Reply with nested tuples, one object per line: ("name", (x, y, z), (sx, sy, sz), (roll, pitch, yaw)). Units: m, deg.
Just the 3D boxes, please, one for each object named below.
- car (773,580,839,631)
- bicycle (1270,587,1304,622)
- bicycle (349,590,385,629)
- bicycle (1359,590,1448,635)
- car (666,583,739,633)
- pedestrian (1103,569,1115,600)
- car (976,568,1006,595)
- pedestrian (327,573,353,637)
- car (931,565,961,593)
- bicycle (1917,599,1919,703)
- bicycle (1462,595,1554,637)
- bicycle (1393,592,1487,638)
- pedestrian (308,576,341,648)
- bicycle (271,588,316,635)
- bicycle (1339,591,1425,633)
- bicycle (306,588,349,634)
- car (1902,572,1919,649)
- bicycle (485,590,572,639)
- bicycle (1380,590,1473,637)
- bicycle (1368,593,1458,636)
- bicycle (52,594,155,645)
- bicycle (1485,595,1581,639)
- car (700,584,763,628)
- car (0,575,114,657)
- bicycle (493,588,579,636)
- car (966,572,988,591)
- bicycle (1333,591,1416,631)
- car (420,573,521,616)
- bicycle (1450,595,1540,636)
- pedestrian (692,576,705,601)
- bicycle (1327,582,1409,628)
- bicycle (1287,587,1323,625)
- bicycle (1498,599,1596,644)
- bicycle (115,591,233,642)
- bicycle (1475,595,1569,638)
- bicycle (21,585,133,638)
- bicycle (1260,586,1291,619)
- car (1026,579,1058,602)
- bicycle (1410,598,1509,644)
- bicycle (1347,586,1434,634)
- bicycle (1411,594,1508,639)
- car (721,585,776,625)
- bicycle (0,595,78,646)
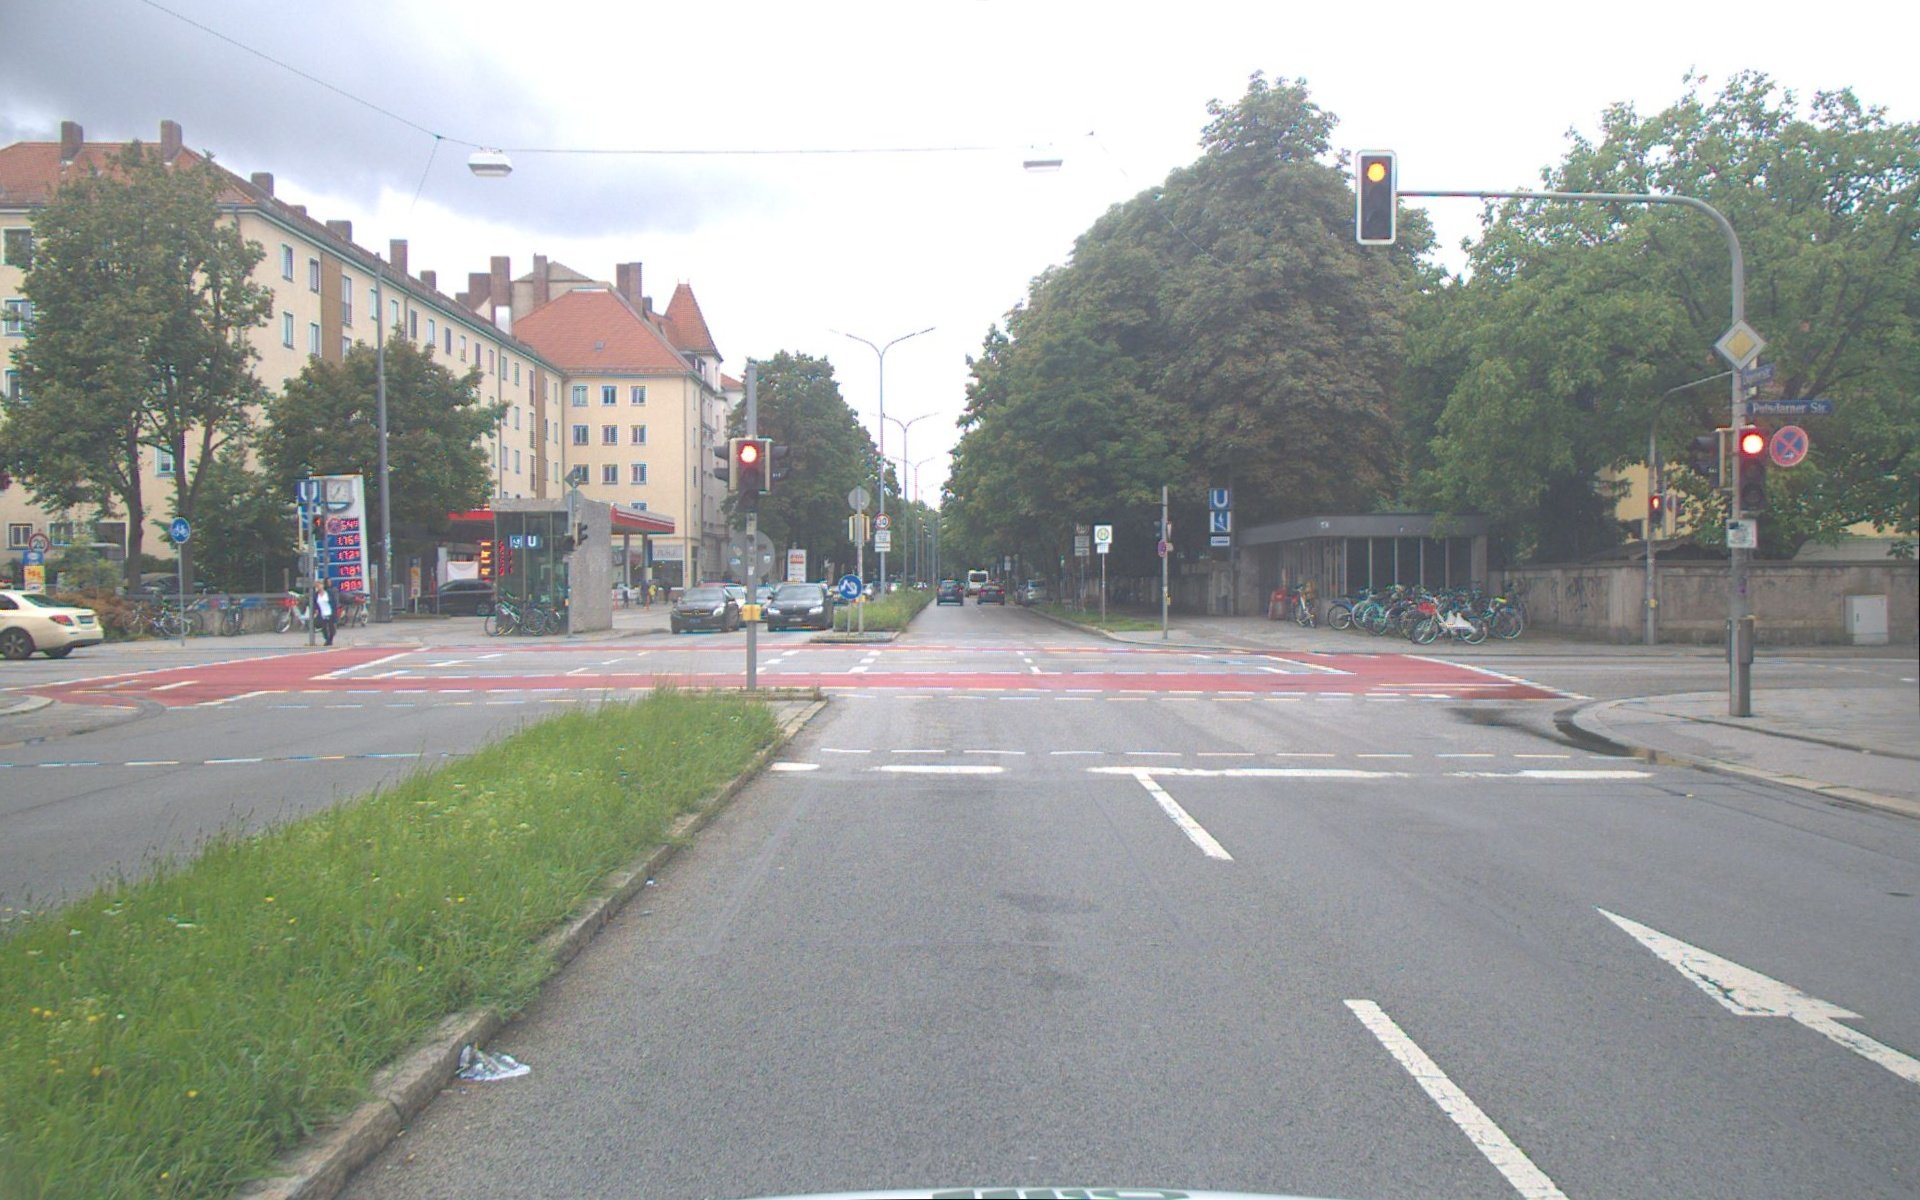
("car", (-4.821, 0.146, 52.095), (1.724, 1.519, 4.000), (0, 1, -1))
("bicycle", (9.842, 0.128, 49.812), (0.545, 1.032, 2.015), (0, 1, -2))
("bicycle", (-18.418, 0.288, 51.419), (0.596, 1.165, 1.963), (0, 1, -6))
("bicycle", (11.123, 0.308, 41.533), (2.097, 1.105, 0.603), (0, 0, 8))
("car", (-8.127, 0.232, 52.439), (1.724, 1.486, 4.000), (0, 1, -1))
("pedestrian", (8.155, -0.859, 90.381), (0.663, 1.712, 0.683), (0, 0, 6))
("car", (2.026, -1.231, 110.279), (1.883, 1.713, 4.000), (1, 0, 0))
("pedestrian", (-16.866, 0.140, 44.996), (0.583, 1.725, 0.571), (-1, 1, -31))
("car", (-0.882, -1.308, 102.980), (1.819, 1.713, 4.000), (0, 1, -1))
("bicycle", (10.776, 0.551, 17.168), (0.587, 1.141, 1.889), (0, 0, 0))
("bicycle", (13.666, 0.395, 41.306), (2.097, 1.032, 0.634), (0, 0, 8))
("bicycle", (11.435, 0.357, 39.436), (2.097, 1.089, 0.603), (0, 0, 8))
("pedestrian", (-15.458, 0.281, 40.245), (0.522, 1.725, 0.577), (0, 0, 11))
("bicycle", (-18.700, 0.313, 46.443), (0.596, 1.257, 2.184), (0, 1, -6))
("bicycle", (10.957, 0.308, 42.971), (2.097, 1.080, 0.603), (0, 0, 8))
("bicycle", (-18.059, 0.302, 47.275), (0.596, 1.257, 2.184), (0, 1, -6))
("car", (21.134, 0.201, 32.659), (4.080, 1.540, 1.696), (0, 1, 4))
("bicycle", (-11.952, 0.395, 45.826), (2.224, 1.327, 0.704), (0, 1, 1))
("bicycle", (11.297, 0.327, 40.089), (2.097, 1.120, 0.603), (0, 0, 8))
("bicycle", (11.166, 0.351, 40.804), (2.097, 1.032, 0.603), (0, 0, 8))
("bicycle", (-21.525, 0.483, 41.596), (2.141, 1.257, 0.764), (-1, 1, -12))
("bicycle", (13.749, 0.404, 39.744), (2.097, 1.032, 0.634), (0, 0, 8))
("car", (-8.147, 0.199, 59.249), (1.724, 1.486, 4.000), (0, 1, -1))
("car", (-20.708, 0.325, 34.951), (4.670, 1.675, 1.784), (0, 1, -3))
("bicycle", (-11.932, 0.343, 46.606), (2.238, 1.327, 0.694), (0, 1, 1))
("car", (1.607, -1.775, 157.844), (1.953, 1.787, 4.000), (0, 1, -1))
("bicycle", (10.980, 0.286, 43.852), (2.097, 1.032, 0.603), (0, 0, 8))
("car", (-21.480, -0.247, 72.732), (3.907, 1.870, 1.879), (0, 1, -3))
("bicycle", (13.609, 0.389, 42.090), (2.097, 1.032, 0.634), (0, 0, 8))
("pedestrian", (-17.474, -0.784, 110.520), (0.682, 1.666, 0.738), (0, 0, 0))
("bicycle", (10.976, 0.134, 44.571), (2.097, 1.240, 0.603), (0, 0, 8))
("bicycle", (9.804, 0.166, 47.079), (0.545, 1.032, 2.015), (0, 1, -2))
("bicycle", (13.804, 0.511, 38.948), (2.097, 1.032, 0.634), (0, 0, 8))
("bicycle", (-20.275, 0.427, 42.684), (2.676, 1.273, 0.785), (1, 0, -31))
("bicycle", (13.750, 0.402, 40.512), (2.097, 1.032, 0.634), (0, 0, 8))
("bicycle", (-22.513, 0.288, 42.227), (2.351, 1.273, 0.790), (1, 0, -11))
("bicycle", (10.138, 0.077, 53.190), (0.545, 1.032, 2.015), (0, 1, -2))
("car", (4.946, -0.591, 100.510), (1.707, 1.387, 3.806), (0, 1, -1))
("bicycle", (11.465, 0.479, 38.007), (2.097, 1.032, 0.603), (0, 0, 8))
("bicycle", (10.990, 0.253, 42.269), (2.097, 1.199, 0.603), (0, 0, 8))
("bicycle", (11.657, 0.377, 38.632), (2.097, 1.032, 0.634), (0, 0, 8))
("car", (-8.431, 0.178, 66.212), (1.724, 1.486, 4.000), (0, 1, -1))
("bicycle", (-23.425, 0.509, 41.495), (2.140, 1.257, 0.764), (-1, 1, -10))
